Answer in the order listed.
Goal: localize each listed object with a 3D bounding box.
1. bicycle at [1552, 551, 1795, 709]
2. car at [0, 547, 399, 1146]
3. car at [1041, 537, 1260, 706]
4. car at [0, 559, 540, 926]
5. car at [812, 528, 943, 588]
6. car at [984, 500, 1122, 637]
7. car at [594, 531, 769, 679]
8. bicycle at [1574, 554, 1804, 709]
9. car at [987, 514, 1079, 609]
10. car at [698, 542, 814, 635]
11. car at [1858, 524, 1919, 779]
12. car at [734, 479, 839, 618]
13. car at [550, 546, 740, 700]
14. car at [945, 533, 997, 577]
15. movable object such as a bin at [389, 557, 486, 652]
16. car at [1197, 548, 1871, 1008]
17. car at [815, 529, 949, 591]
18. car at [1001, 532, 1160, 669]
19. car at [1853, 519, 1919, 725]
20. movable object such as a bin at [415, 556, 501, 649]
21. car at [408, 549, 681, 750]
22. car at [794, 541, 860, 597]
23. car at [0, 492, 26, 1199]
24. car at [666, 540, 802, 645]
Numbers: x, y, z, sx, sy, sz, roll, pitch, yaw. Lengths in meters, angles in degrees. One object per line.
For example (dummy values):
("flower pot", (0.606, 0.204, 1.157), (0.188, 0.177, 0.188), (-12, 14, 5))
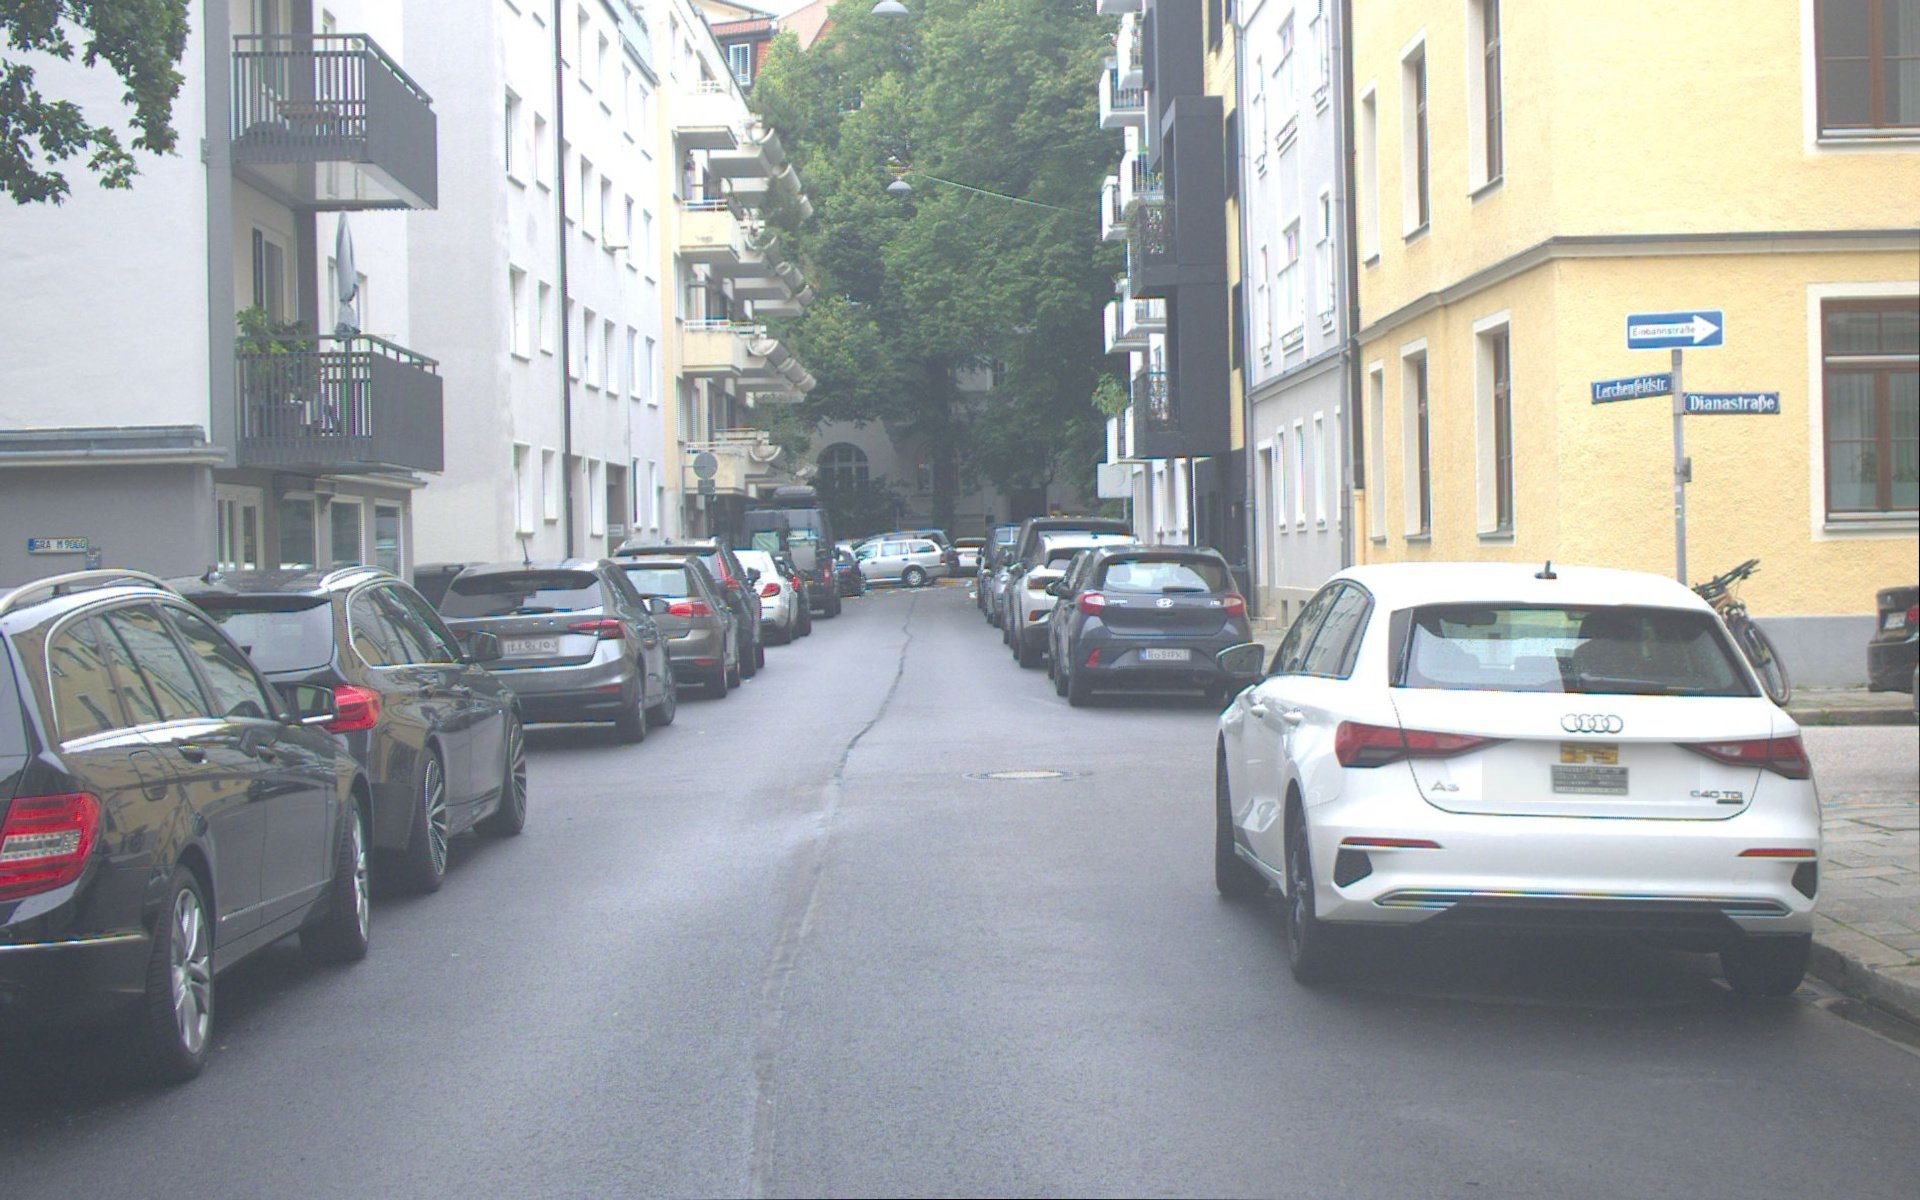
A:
("bicycle", (5.731, 0.232, 27.649), (1.808, 1.170, 0.505), (-2, 3, -2))
("car", (-3.069, 0.615, 10.937), (1.766, 1.478, 4.424), (-2, 1, 0))
("car", (1.762, 0.154, 33.110), (1.751, 1.464, 4.343), (2, 1, -1))
("car", (-3.200, 0.558, 16.210), (1.856, 1.403, 4.383), (-2, 1, 0))
("car", (-2.513, -1.286, 104.890), (3.885, 1.579, 1.648), (-4, 1, -2))
("car", (1.321, -0.492, 50.534), (1.829, 1.903, 4.416), (1, 1, -1))
("car", (-3.304, 0.018, 41.488), (1.776, 1.623, 4.415), (-2, 1, -1))
("bicycle", (5.757, 0.244, 27.173), (1.713, 1.135, 0.374), (-2, 3, -1))
("car", (1.606, -0.879, 77.271), (1.829, 1.992, 4.416), (2, 1, -1))
("car", (-3.510, -0.221, 59.731), (1.777, 1.448, 4.046), (-4, 1, -1))
("car", (7.464, 0.257, 19.404), (4.203, 1.395, 2.001), (-1, 3, -3))
("car", (-3.720, -1.122, 74.390), (1.936, 2.792, 4.533), (-4, 1, -1))
("car", (-3.213, 0.194, 35.663), (1.693, 1.437, 3.978), (-2, 1, -2))
("car", (0.384, -1.579, 119.908), (1.642, 1.379, 3.746), (-4, 1, -1))
("movable object such as a bin", (-7.710, 0.060, 50.768), (1.166, 1.332, 1.025), (-3, 1, 2))
("car", (1.958, 0.537, 12.887), (1.819, 1.403, 3.952), (0, 2, -1))
("car", (-2.342, -1.206, 102.921), (3.885, 1.579, 1.648), (-4, 1, -2))
("car", (1.453, -0.036, 42.914), (1.682, 1.562, 4.416), (2, 1, -1))
("car", (9.015, 0.124, 25.645), (4.211, 1.488, 1.712), (-1, 0, -2))
("movable object such as a bin", (-7.570, 0.029, 51.846), (1.047, 1.332, 0.993), (-3, 1, 2))
("car", (-3.294, 0.347, 27.901), (1.693, 1.437, 3.942), (-2, 1, 0))
("car", (-3.575, -0.851, 92.892), (1.642, 1.379, 3.483), (-4, 1, -1))
("car", (-2.857, 0.650, 5.203), (1.765, 1.669, 4.368), (-2, 1, -2))
("car", (-3.534, -0.157, 54.520), (1.777, 1.482, 4.519), (-4, 1, 0))
